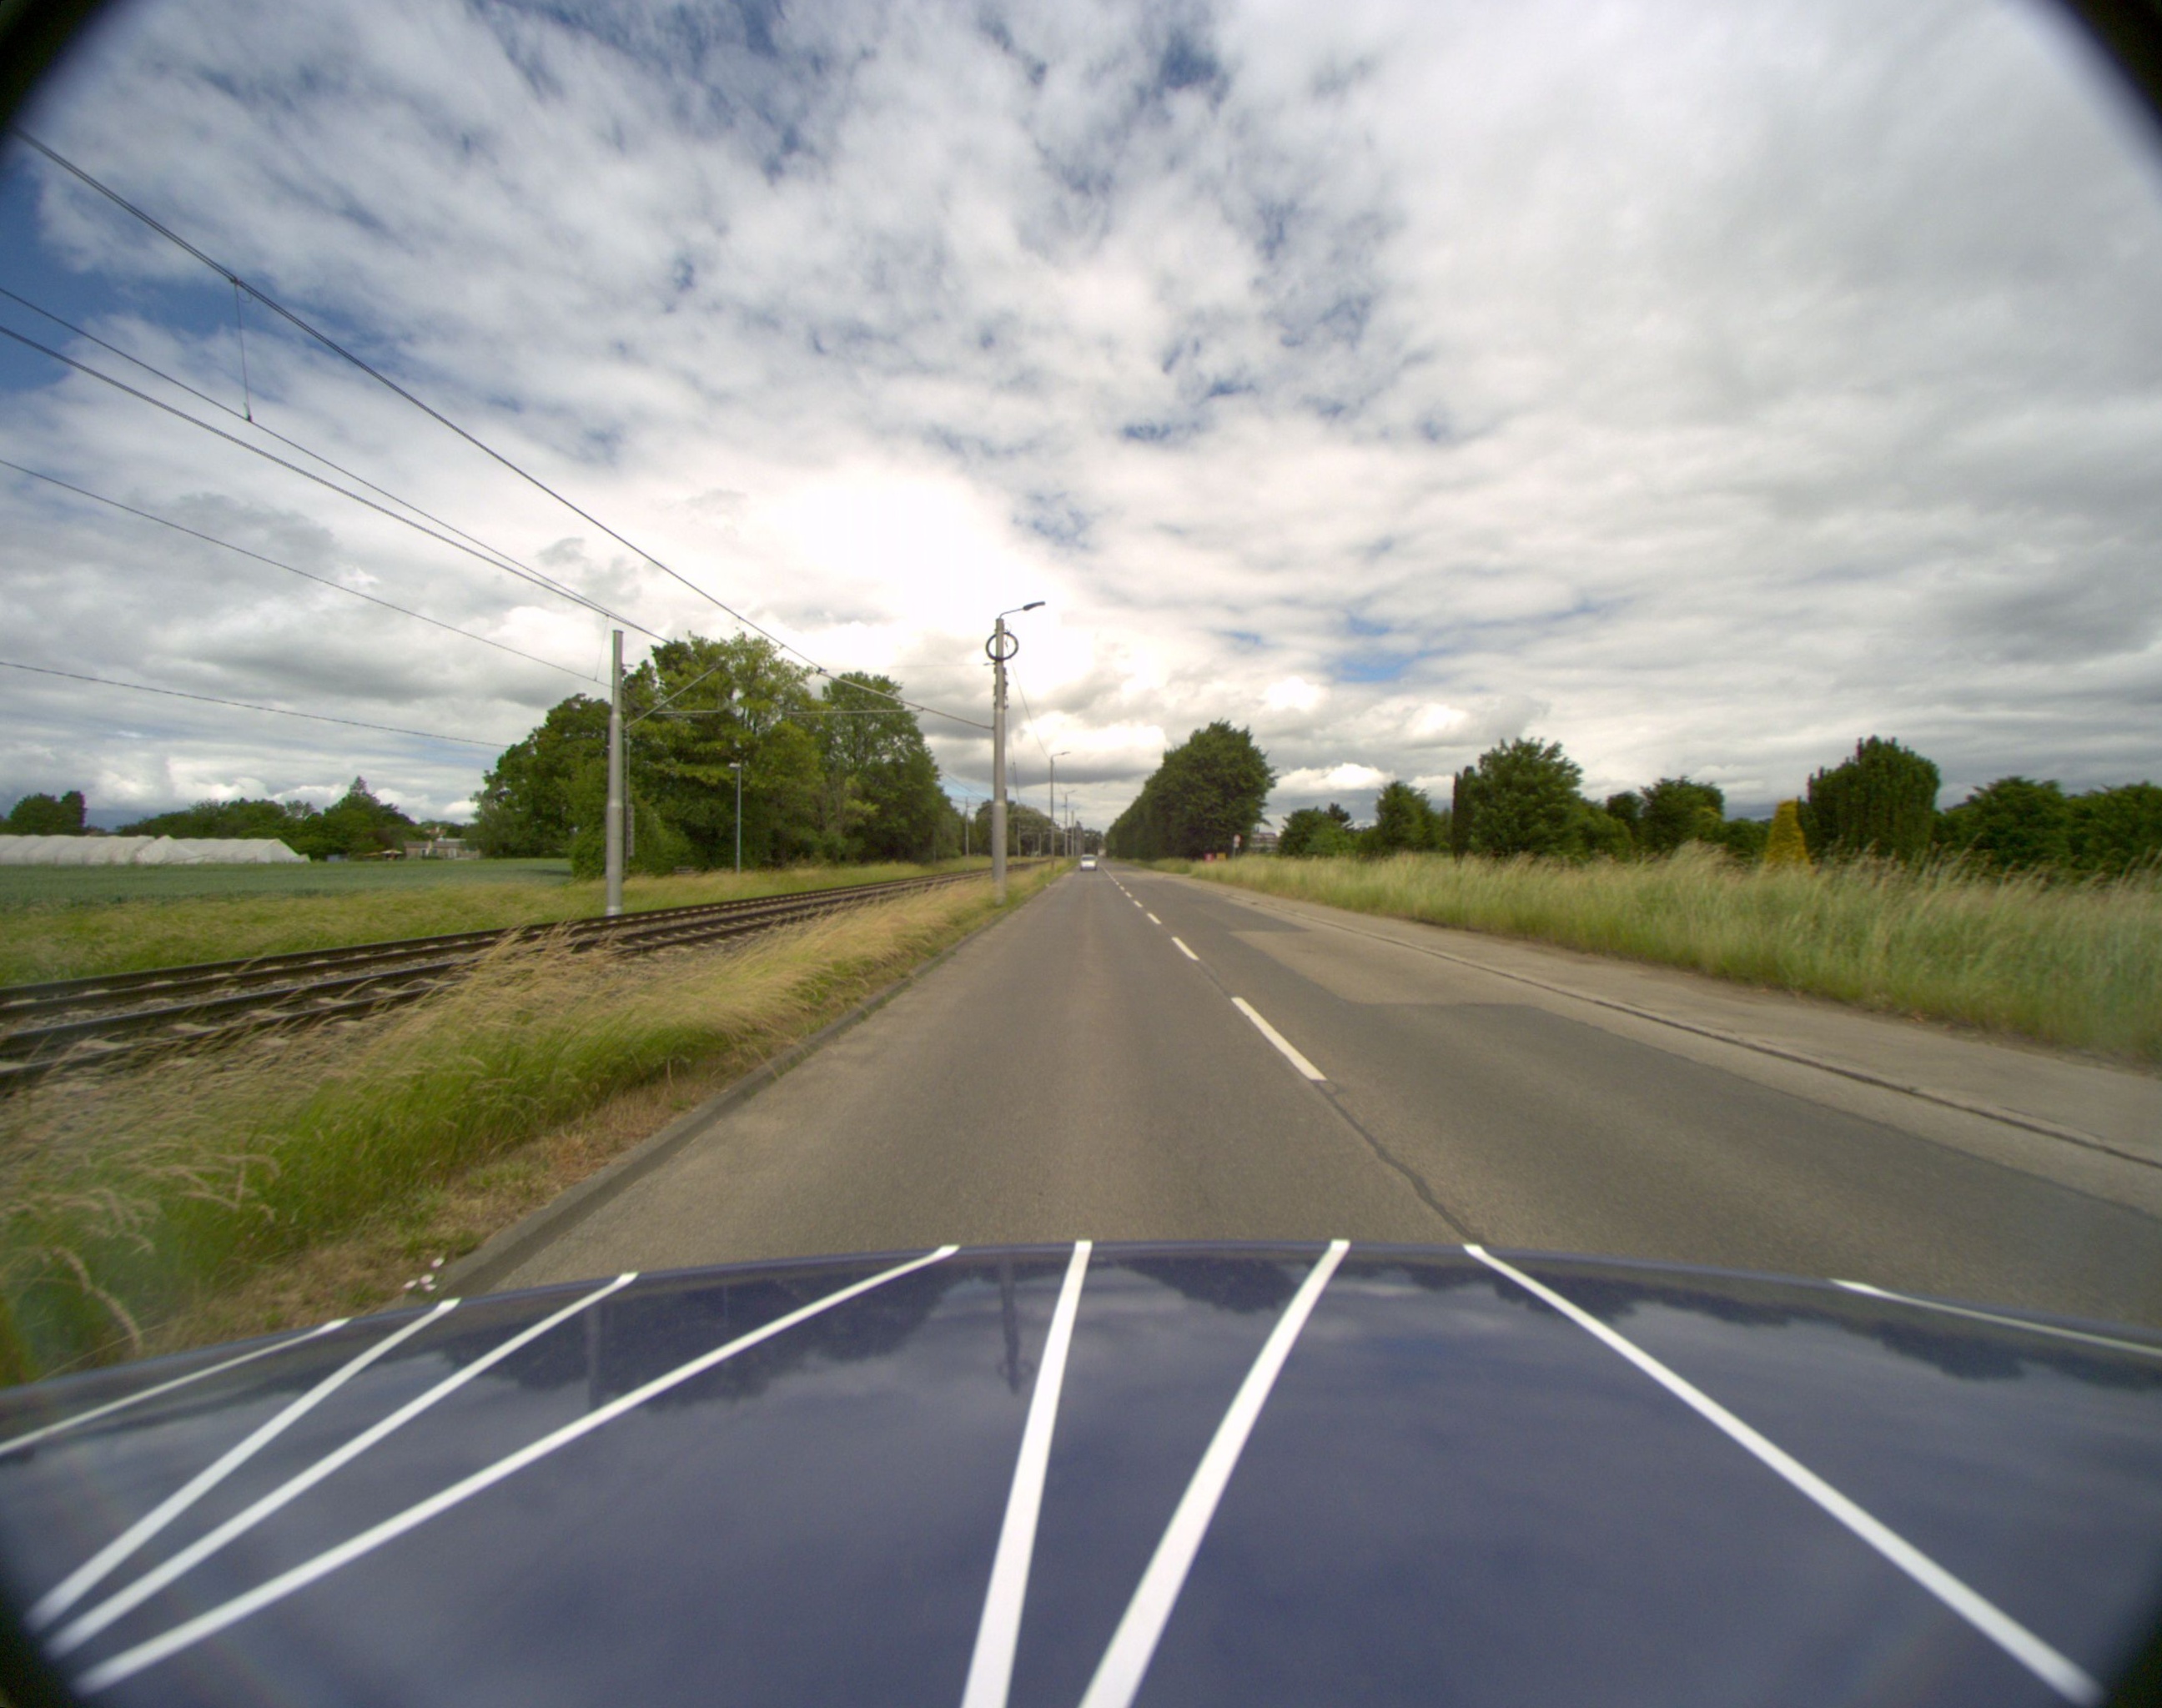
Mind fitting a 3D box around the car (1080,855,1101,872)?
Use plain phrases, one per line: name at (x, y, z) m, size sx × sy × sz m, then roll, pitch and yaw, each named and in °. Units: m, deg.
car at (0.931, 0.943, 78.277) m, size 1.999 × 1.679 × 3.999 m, roll -2°, pitch 0°, yaw 0°
